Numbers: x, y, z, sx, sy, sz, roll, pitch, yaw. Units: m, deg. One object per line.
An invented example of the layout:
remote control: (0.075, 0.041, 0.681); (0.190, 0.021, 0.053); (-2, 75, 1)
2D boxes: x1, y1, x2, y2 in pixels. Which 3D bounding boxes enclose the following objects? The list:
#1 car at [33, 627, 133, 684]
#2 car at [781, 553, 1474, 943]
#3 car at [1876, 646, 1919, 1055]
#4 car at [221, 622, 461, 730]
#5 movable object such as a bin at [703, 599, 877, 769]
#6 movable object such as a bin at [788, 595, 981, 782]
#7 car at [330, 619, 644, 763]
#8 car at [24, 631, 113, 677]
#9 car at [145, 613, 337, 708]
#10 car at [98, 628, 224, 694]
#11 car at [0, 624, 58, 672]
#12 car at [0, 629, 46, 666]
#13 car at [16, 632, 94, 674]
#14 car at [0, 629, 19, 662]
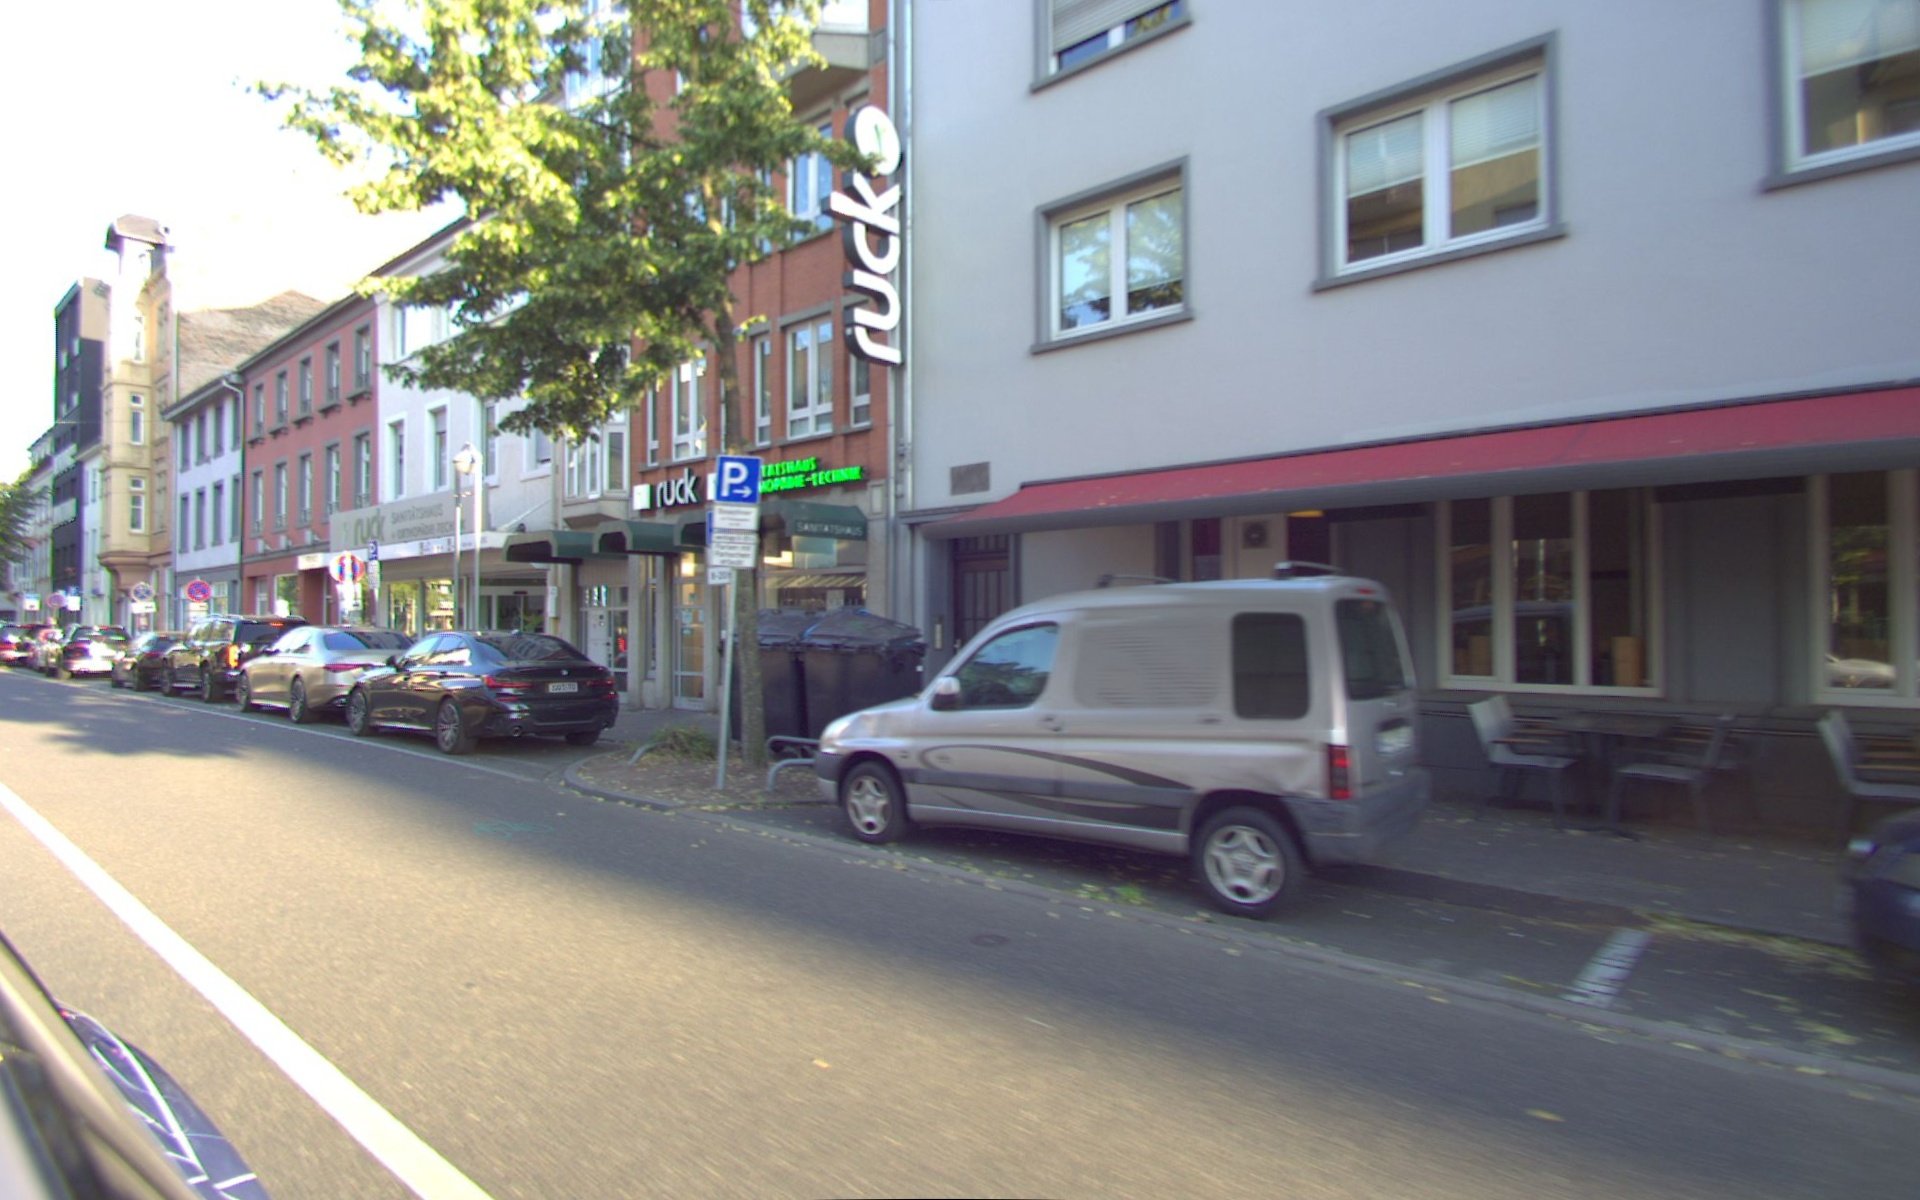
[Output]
car: (-26.864, 1.659, 30.958); (4.215, 1.626, 1.747); (-2, -3, 41)
car: (0.935, 0.754, 6.730); (4.142, 1.801, 1.897); (-2, -3, 38)
car: (5.483, 0.839, 2.711); (4.379, 1.397, 1.895); (-2, -3, 40)
car: (-10.381, 1.165, 16.795); (5.111, 1.522, 1.972); (-2, -3, 41)
movable object such as a bin: (-1.883, 0.873, 11.259); (1.367, 1.685, 1.268); (-1, 1, 38)
movable object such as a bin: (-0.770, 0.835, 10.360); (1.439, 1.685, 1.269); (-1, 1, 38)
car: (-6.192, 1.050, 12.993); (4.635, 1.522, 1.895); (-2, -3, 40)
car: (-29.968, 1.786, 33.979); (3.865, 1.475, 1.747); (-2, -3, 41)
car: (-15.433, 1.235, 21.614); (5.294, 1.783, 1.974); (-2, -3, 39)
car: (-20.244, 1.488, 25.590); (4.215, 1.522, 1.747); (-2, -3, 41)
car: (-36.604, 1.814, 38.937); (4.211, 1.766, 2.030); (-2, -3, 37)
car: (-42.010, 2.031, 43.155); (2.052, 1.594, 4.143); (-1, -3, 35)
car: (-32.859, 1.892, 36.724); (3.540, 1.475, 1.667); (-2, -3, 41)
car: (-47.700, 2.165, 48.194); (1.955, 1.594, 3.865); (-1, -3, 35)
